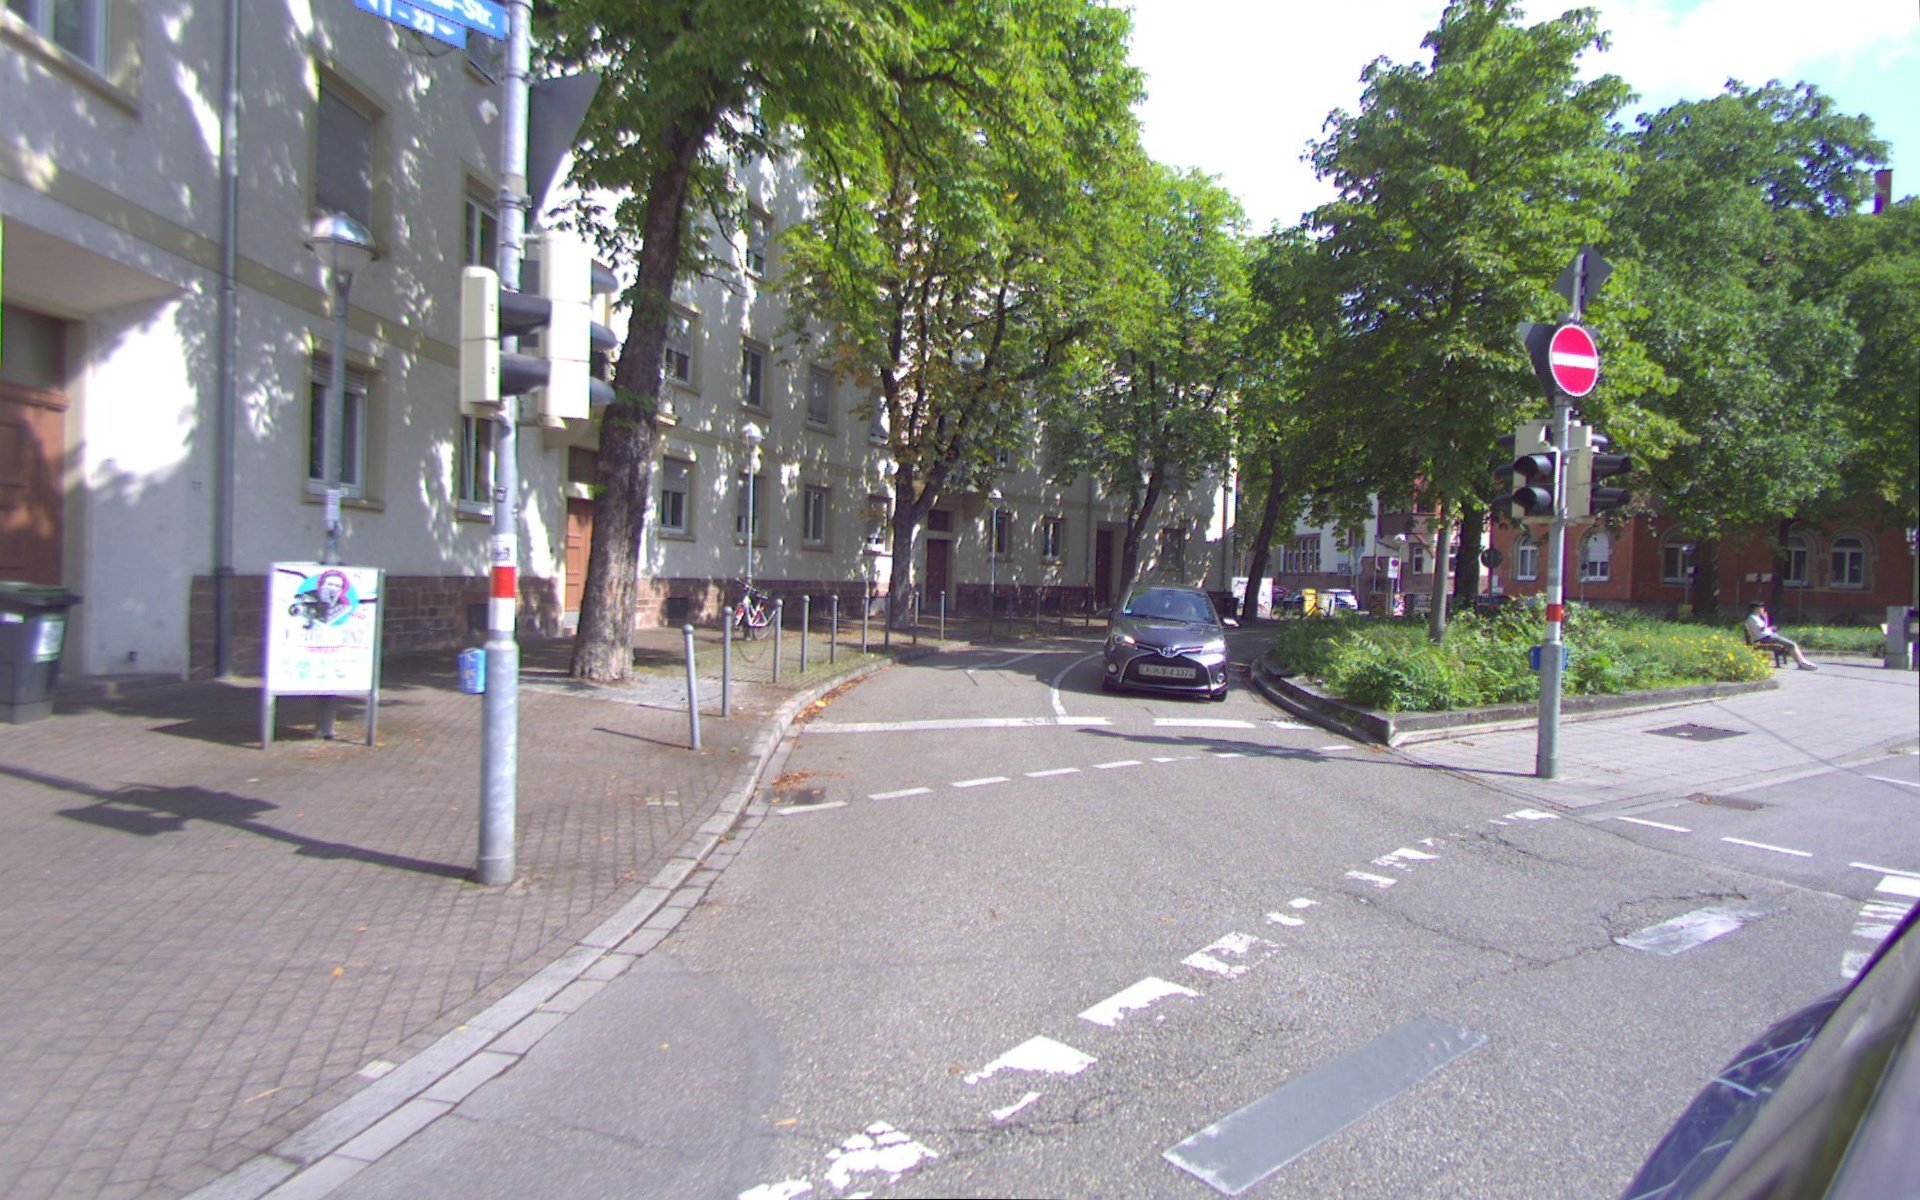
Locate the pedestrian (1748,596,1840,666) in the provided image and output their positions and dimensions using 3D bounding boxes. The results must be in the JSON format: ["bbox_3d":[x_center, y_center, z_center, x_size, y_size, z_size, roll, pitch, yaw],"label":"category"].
[{"bbox_3d":[16.247,0.583,19.724,0.890,1.216,1.160,1,4,-40],"label":"pedestrian"}]

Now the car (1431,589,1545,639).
[{"bbox_3d":[26.717,0.656,51.443,2.236,2.297,5.245,2,1,-13],"label":"car"}]

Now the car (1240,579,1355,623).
[{"bbox_3d":[12.917,0.044,38.924,1.620,1.572,3.997,1,0,-37],"label":"car"}]

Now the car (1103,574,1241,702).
[{"bbox_3d":[2.953,0.438,14.537,1.604,1.509,3.721,3,1,9],"label":"car"}]

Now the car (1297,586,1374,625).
[{"bbox_3d":[24.093,0.322,65.211,2.237,2.297,5.244,2,1,-10],"label":"car"}]

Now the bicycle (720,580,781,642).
[{"bbox_3d":[-3.685,0.181,17.912,0.298,1.022,1.467,5,2,18],"label":"bicycle"}]

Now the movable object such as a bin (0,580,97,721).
[{"bbox_3d":[-6.546,0.338,7.096,0.564,0.937,0.497,2,1,-7],"label":"movable object such as a bin"}]
